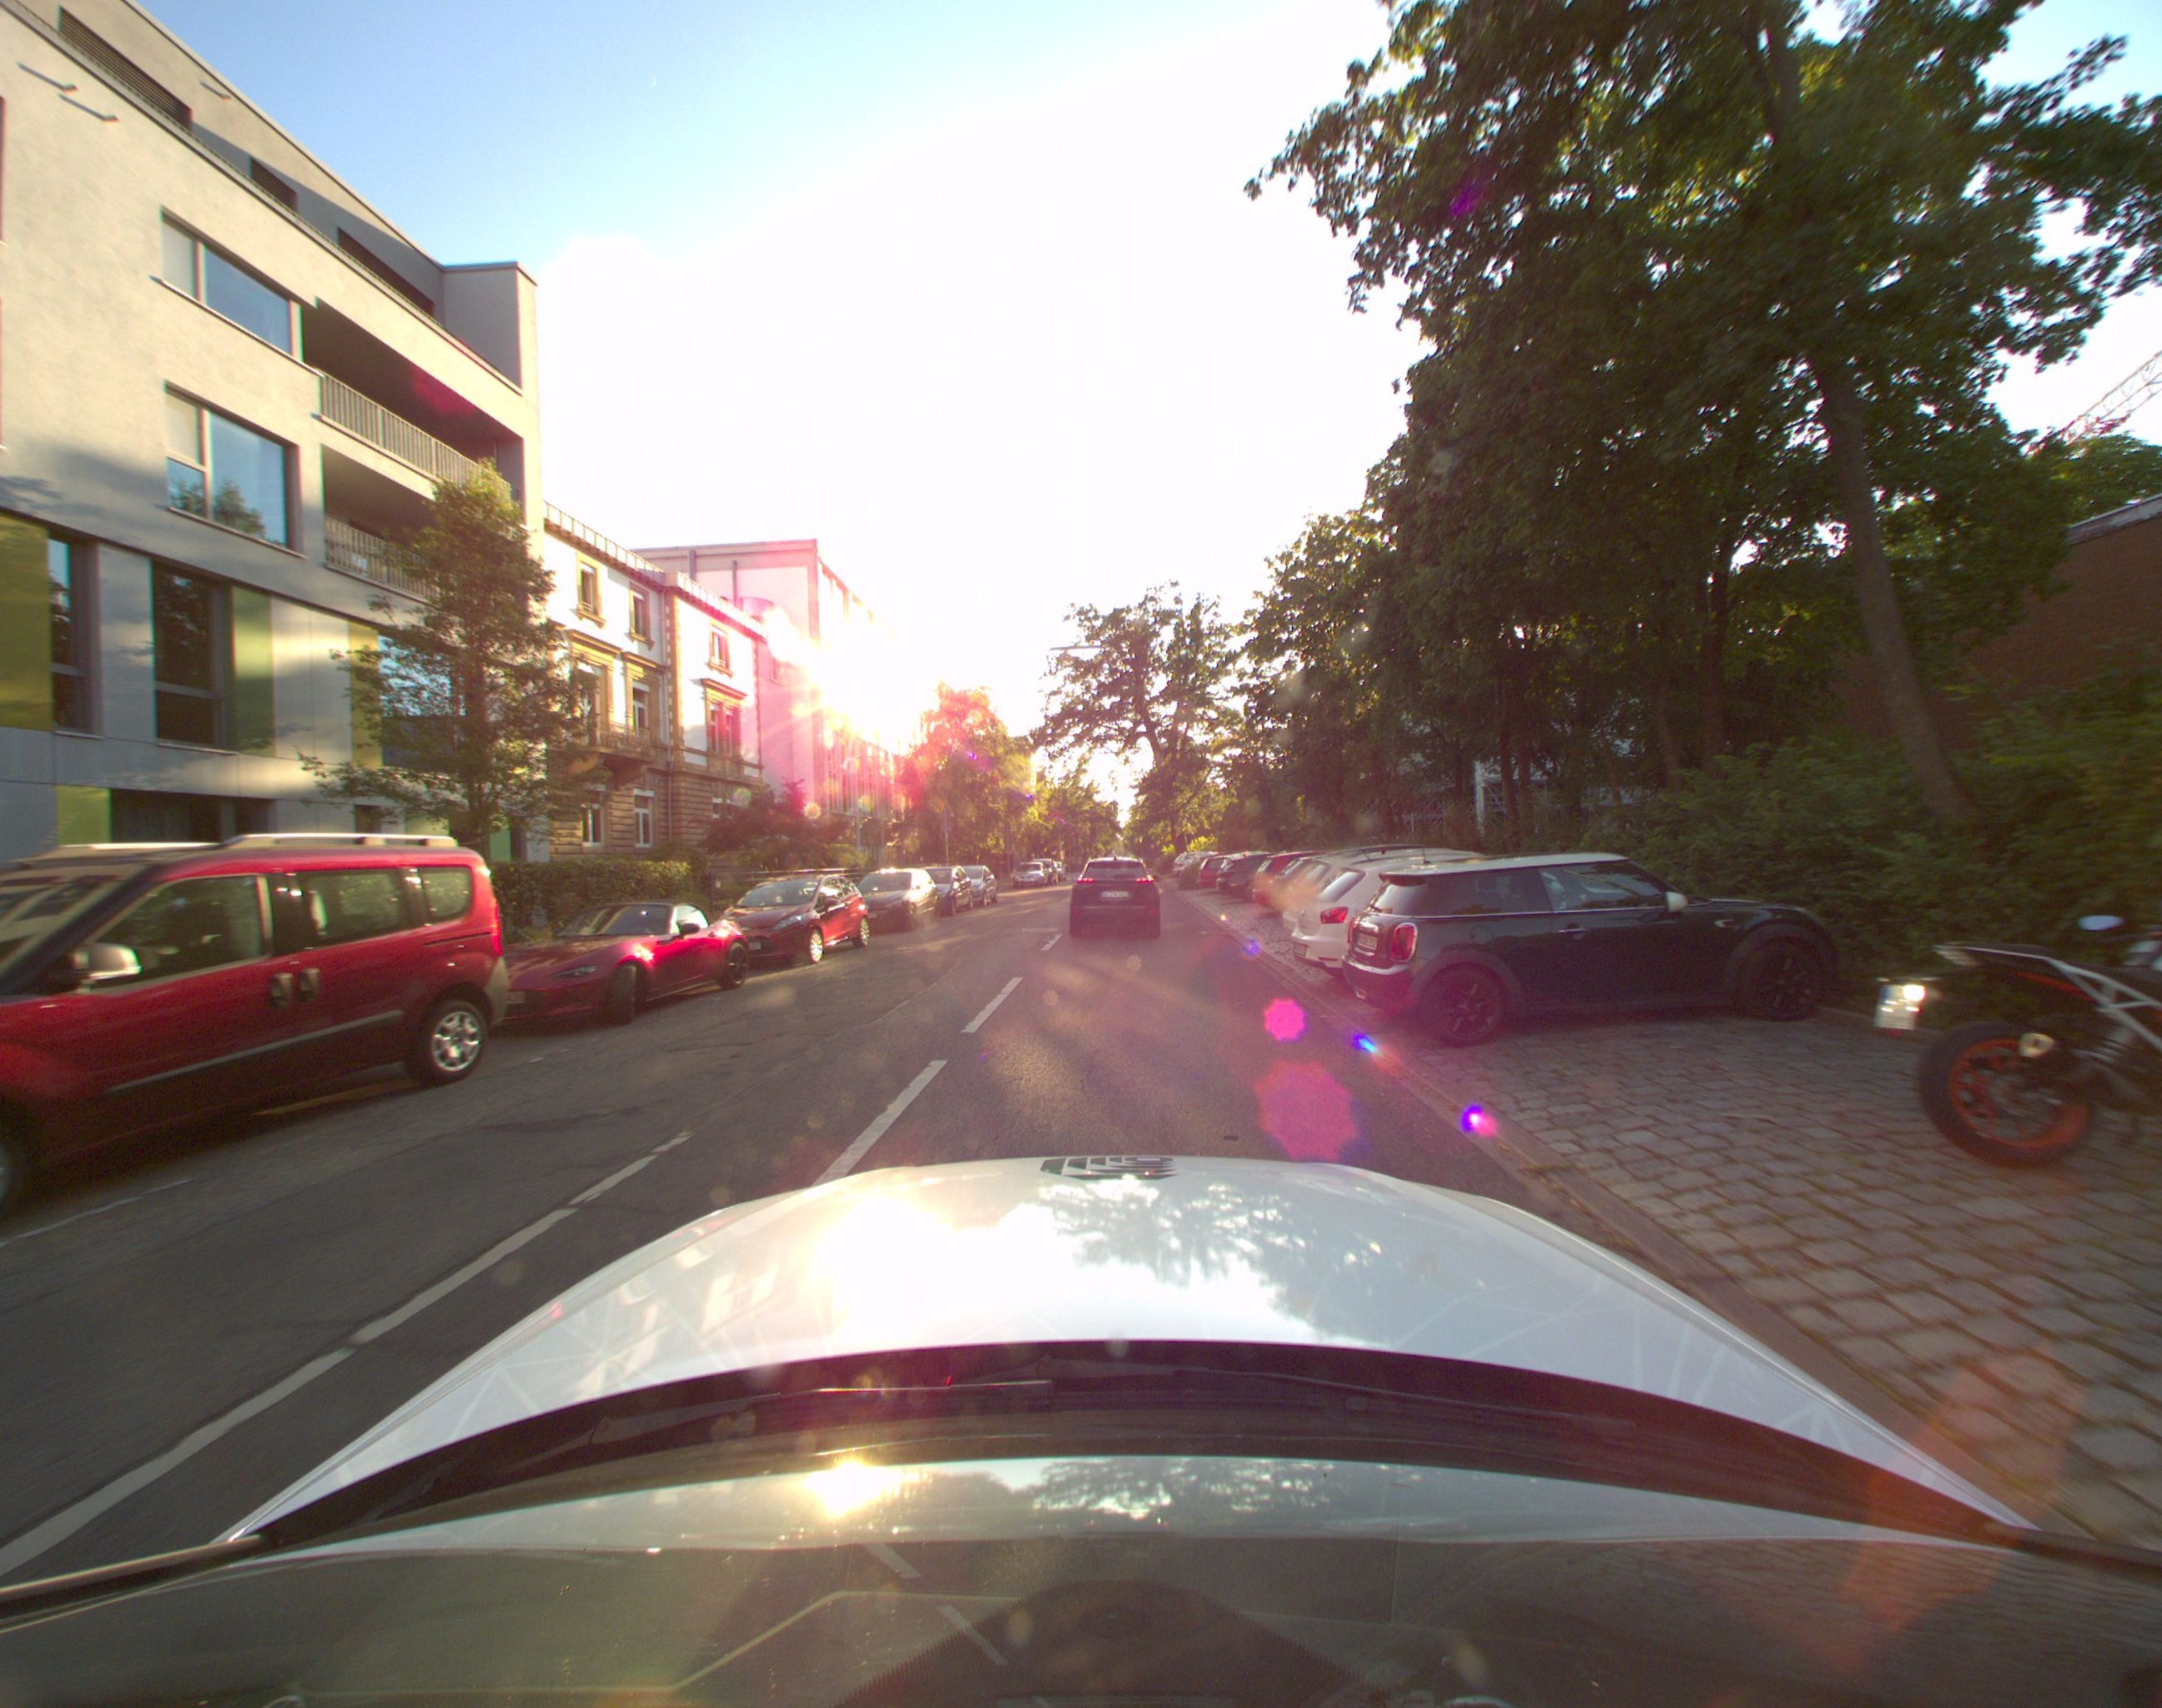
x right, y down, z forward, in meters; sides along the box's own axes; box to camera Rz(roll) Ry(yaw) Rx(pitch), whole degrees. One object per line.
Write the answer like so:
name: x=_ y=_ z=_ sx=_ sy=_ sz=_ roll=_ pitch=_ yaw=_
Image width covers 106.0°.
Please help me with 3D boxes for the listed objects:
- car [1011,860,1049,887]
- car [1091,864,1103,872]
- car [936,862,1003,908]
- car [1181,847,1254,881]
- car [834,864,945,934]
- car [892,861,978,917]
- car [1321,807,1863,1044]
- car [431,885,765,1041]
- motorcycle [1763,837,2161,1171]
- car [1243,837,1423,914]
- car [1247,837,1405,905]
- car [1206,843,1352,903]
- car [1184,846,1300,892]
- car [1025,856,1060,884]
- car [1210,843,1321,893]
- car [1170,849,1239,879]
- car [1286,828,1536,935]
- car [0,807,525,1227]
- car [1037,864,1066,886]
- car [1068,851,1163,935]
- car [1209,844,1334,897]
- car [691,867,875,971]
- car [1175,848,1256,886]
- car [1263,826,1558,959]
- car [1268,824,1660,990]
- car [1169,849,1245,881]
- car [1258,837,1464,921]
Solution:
car: x=-2.945 y=1.118 z=47.758 sx=1.663 sy=1.494 sz=4.065 roll=-1 pitch=-1 yaw=4
car: x=2.635 y=2.359 z=136.424 sx=1.805 sy=1.354 sz=3.997 roll=-2 pitch=-1 yaw=-2
car: x=-4.007 y=1.084 z=29.801 sx=1.594 sy=1.494 sz=3.776 roll=-3 pitch=0 yaw=4
car: x=7.274 y=0.562 z=43.730 sx=3.574 sy=1.566 sz=1.819 roll=-4 pitch=-2 yaw=2
car: x=-4.678 y=1.047 z=20.469 sx=1.592 sy=1.455 sz=4.057 roll=-3 pitch=0 yaw=2
car: x=-4.441 y=1.025 z=25.366 sx=1.591 sy=1.507 sz=3.793 roll=-3 pitch=0 yaw=5
car: x=4.184 y=0.558 z=7.134 sx=3.597 sy=1.525 sz=1.672 roll=-5 pitch=-1 yaw=1
car: x=-5.343 y=1.113 z=9.647 sx=1.550 sy=1.280 sz=3.735 roll=-3 pitch=0 yaw=2
motorcycle: x=4.528 y=0.613 z=3.660 sx=2.080 sy=1.304 sz=0.780 roll=-4 pitch=-1 yaw=9
car: x=6.016 y=0.528 z=19.810 sx=3.791 sy=1.475 sz=1.758 roll=-5 pitch=-2 yaw=3
car: x=6.689 y=0.475 z=22.554 sx=3.791 sy=1.475 sz=1.833 roll=-5 pitch=-2 yaw=3
car: x=6.040 y=0.590 z=25.255 sx=4.101 sy=1.475 sz=1.834 roll=-5 pitch=-1 yaw=4
car: x=6.445 y=0.592 z=32.910 sx=4.318 sy=1.475 sz=1.744 roll=-5 pitch=0 yaw=4
car: x=-2.457 y=0.997 z=53.173 sx=1.672 sy=1.708 sz=4.345 roll=-3 pitch=0 yaw=4
car: x=6.900 y=0.526 z=30.733 sx=3.701 sy=1.555 sz=1.741 roll=-4 pitch=-1 yaw=-1
car: x=7.719 y=0.627 z=50.936 sx=4.147 sy=1.710 sz=1.871 roll=-1 pitch=-1 yaw=7
car: x=5.814 y=0.487 z=14.728 sx=3.709 sy=1.498 sz=1.822 roll=-5 pitch=-2 yaw=3
car: x=-5.733 y=0.780 z=4.791 sx=1.800 sy=1.889 sz=4.241 roll=-3 pitch=0 yaw=2
car: x=-2.108 y=1.501 z=59.557 sx=1.672 sy=1.457 sz=3.886 roll=-3 pitch=0 yaw=4
car: x=0.676 y=0.737 z=16.873 sx=1.762 sy=1.568 sz=3.381 roll=0 pitch=0 yaw=1
car: x=6.510 y=0.570 z=28.181 sx=3.906 sy=1.454 sz=1.834 roll=-5 pitch=-1 yaw=4
car: x=-5.013 y=1.021 z=14.273 sx=1.592 sy=1.455 sz=3.864 roll=-3 pitch=0 yaw=2
car: x=6.766 y=0.623 z=41.301 sx=3.734 sy=1.594 sz=1.696 roll=-5 pitch=0 yaw=-1
car: x=4.800 y=0.547 z=12.280 sx=3.653 sy=1.552 sz=1.735 roll=-5 pitch=-1 yaw=1
car: x=4.228 y=0.566 z=9.454 sx=3.653 sy=1.445 sz=1.735 roll=-5 pitch=-1 yaw=1
car: x=7.102 y=0.626 z=46.219 sx=4.105 sy=1.667 sz=1.724 roll=-2 pitch=0 yaw=3
car: x=5.850 y=0.530 z=17.362 sx=3.733 sy=1.395 sz=1.758 roll=-5 pitch=-2 yaw=3
